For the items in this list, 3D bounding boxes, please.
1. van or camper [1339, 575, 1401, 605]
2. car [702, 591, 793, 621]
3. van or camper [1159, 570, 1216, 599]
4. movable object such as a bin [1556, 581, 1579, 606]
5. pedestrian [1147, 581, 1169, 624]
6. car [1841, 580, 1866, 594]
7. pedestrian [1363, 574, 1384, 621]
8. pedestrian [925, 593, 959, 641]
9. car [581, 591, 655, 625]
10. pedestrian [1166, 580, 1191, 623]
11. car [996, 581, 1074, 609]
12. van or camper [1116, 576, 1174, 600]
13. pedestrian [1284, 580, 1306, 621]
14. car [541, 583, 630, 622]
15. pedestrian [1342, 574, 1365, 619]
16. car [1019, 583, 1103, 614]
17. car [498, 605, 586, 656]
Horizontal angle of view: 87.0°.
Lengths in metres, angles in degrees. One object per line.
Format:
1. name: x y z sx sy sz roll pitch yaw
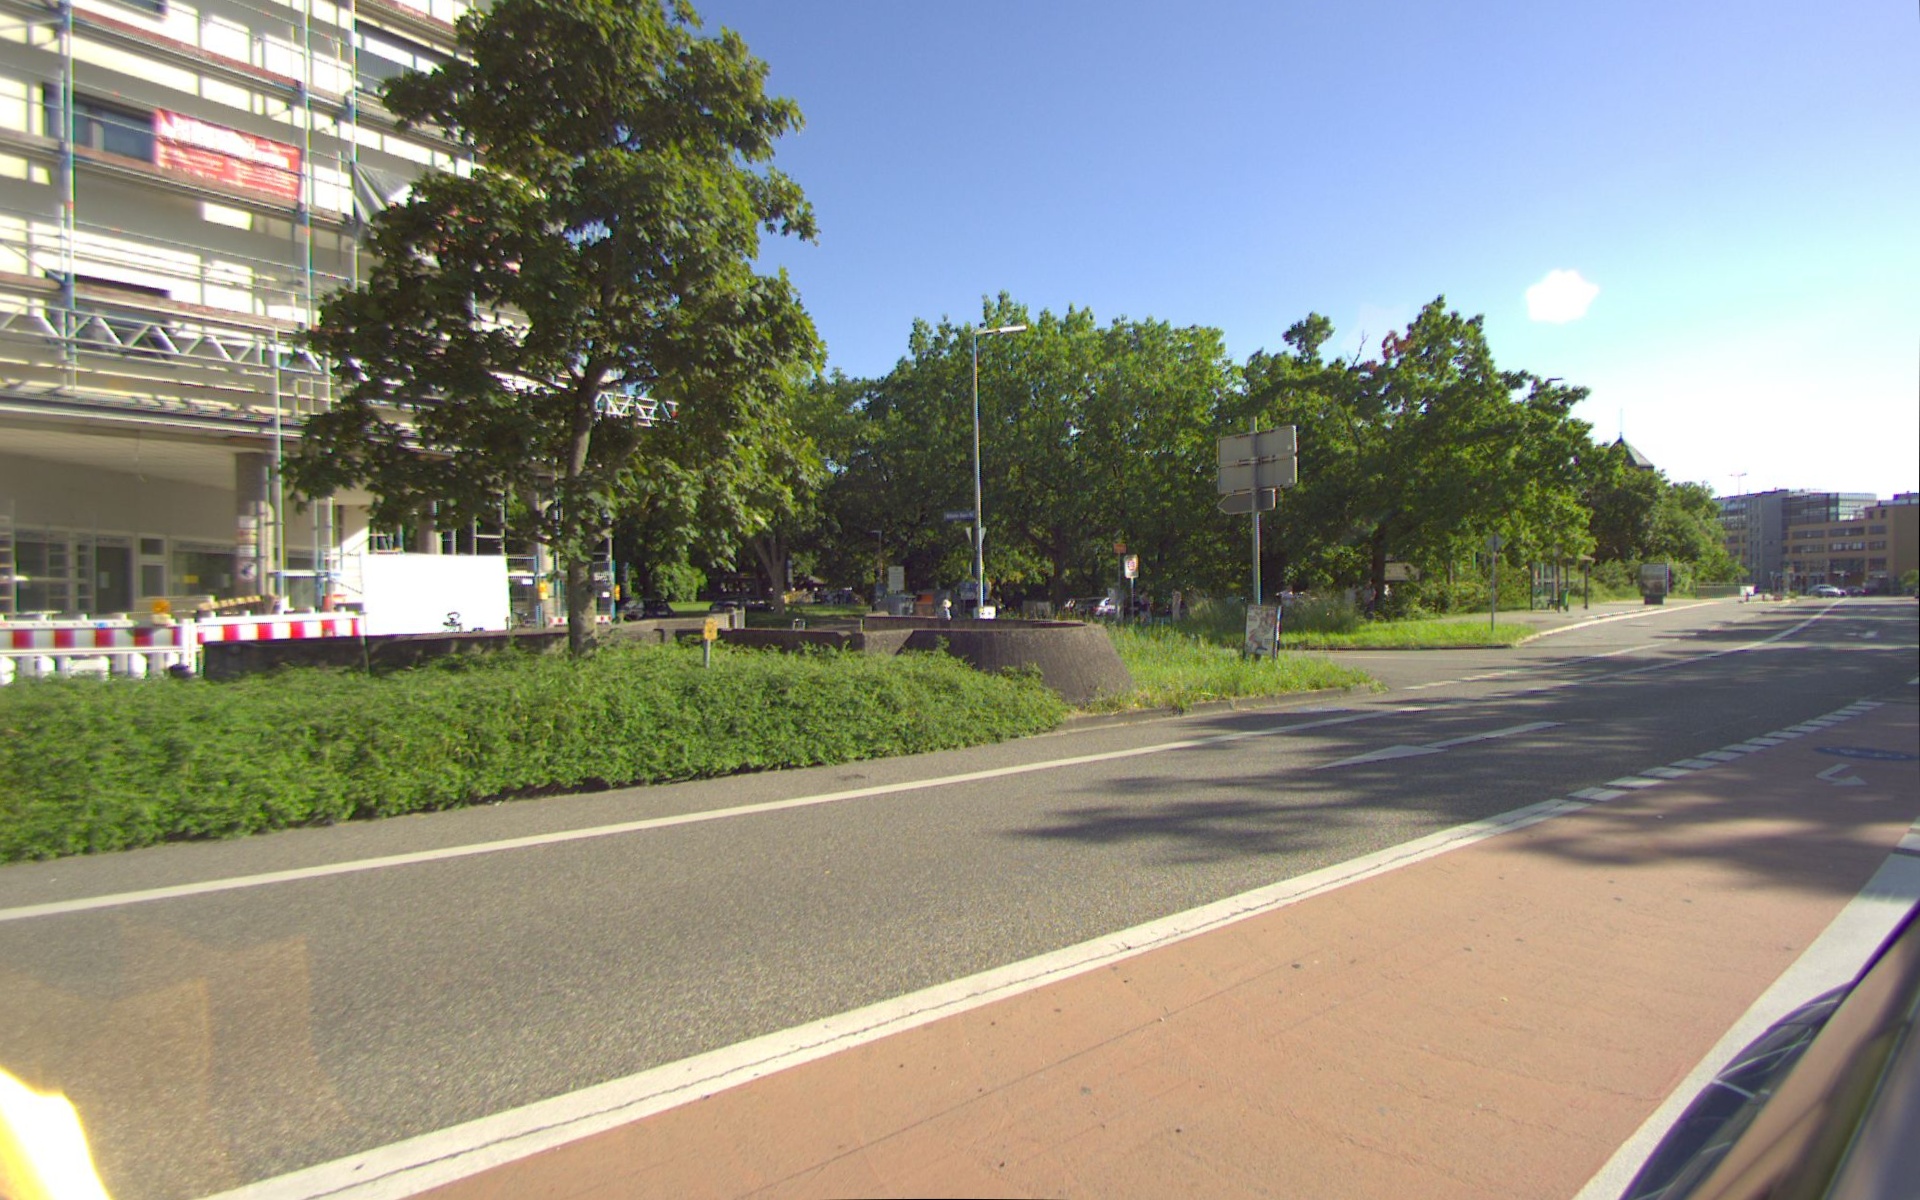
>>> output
1. van or camper: 27.383 -0.673 67.460 2.446 1.937 5.254 0 1 38
2. car: -10.491 0.301 50.141 3.930 1.314 1.997 -3 1 -39
3. van or camper: 18.009 -1.215 80.032 2.444 2.186 5.257 0 1 37
4. movable object such as a bin: 26.366 -0.280 43.921 0.726 1.043 0.569 0 1 43
5. pedestrian: 7.705 0.085 39.448 0.596 1.640 0.559 -2 0 38
6. car: 98.321 -1.453 111.330 1.993 1.552 3.939 0 1 43
7. pedestrian: 15.317 -0.106 37.471 0.602 1.721 0.404 0 0 43
8. pedestrian: -0.567 0.531 32.262 0.647 1.516 0.898 -1 0 35
9. car: -16.081 0.374 47.561 3.544 1.522 1.656 0 1 39
10. pedestrian: 8.403 0.061 38.893 0.701 1.640 0.559 -2 0 38
11. car: 3.774 -0.235 50.949 3.631 1.290 1.602 0 3 38
12. van or camper: 15.077 -1.001 82.360 2.446 1.937 5.254 0 1 38
13. pedestrian: 12.447 0.014 37.609 0.603 1.537 0.528 -1 0 -44
14. car: -21.192 0.117 57.337 4.281 2.099 1.994 -2 1 -45
15. pedestrian: 14.594 -0.139 37.540 0.622 1.655 0.543 0 0 44
16. car: 4.641 -0.065 46.670 3.568 1.330 1.602 0 3 38
17. car: -18.124 1.267 43.803 3.983 2.039 1.971 0 1 41
